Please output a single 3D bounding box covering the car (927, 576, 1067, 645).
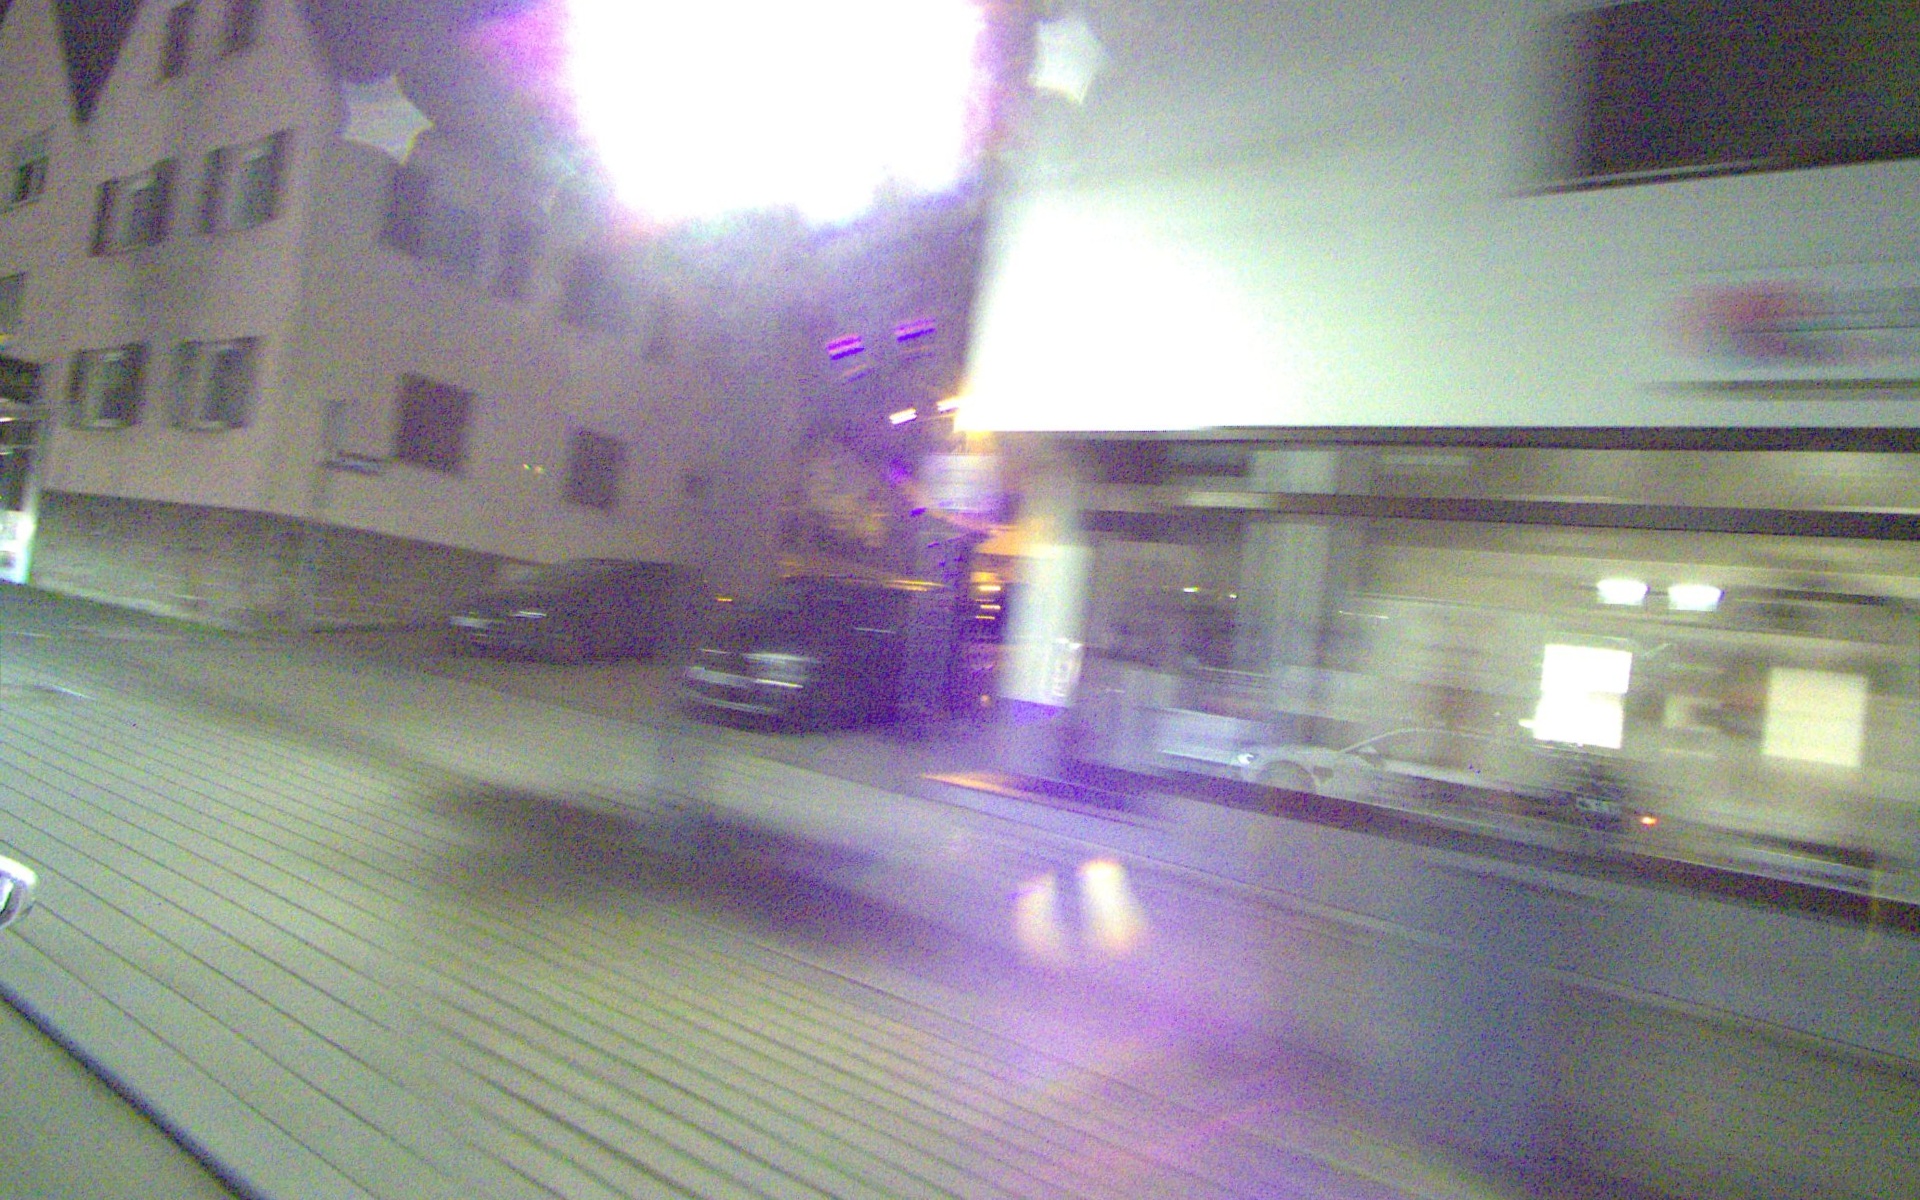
[{"bbox_3d":[1.021,0.263,25.379,1.884,1.496,3.989,5,2,29],"label":"car"}]

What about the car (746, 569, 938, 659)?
[{"bbox_3d":[-2.190,0.264,19.760,1.617,1.496,4.050,5,2,29],"label":"car"}]

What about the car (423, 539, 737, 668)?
[{"bbox_3d":[-5.270,0.109,14.499,1.722,1.495,3.992,6,0,29],"label":"car"}]

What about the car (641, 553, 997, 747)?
[{"bbox_3d":[-1.351,0.518,11.319,1.785,1.602,4.082,8,2,28],"label":"car"}]
